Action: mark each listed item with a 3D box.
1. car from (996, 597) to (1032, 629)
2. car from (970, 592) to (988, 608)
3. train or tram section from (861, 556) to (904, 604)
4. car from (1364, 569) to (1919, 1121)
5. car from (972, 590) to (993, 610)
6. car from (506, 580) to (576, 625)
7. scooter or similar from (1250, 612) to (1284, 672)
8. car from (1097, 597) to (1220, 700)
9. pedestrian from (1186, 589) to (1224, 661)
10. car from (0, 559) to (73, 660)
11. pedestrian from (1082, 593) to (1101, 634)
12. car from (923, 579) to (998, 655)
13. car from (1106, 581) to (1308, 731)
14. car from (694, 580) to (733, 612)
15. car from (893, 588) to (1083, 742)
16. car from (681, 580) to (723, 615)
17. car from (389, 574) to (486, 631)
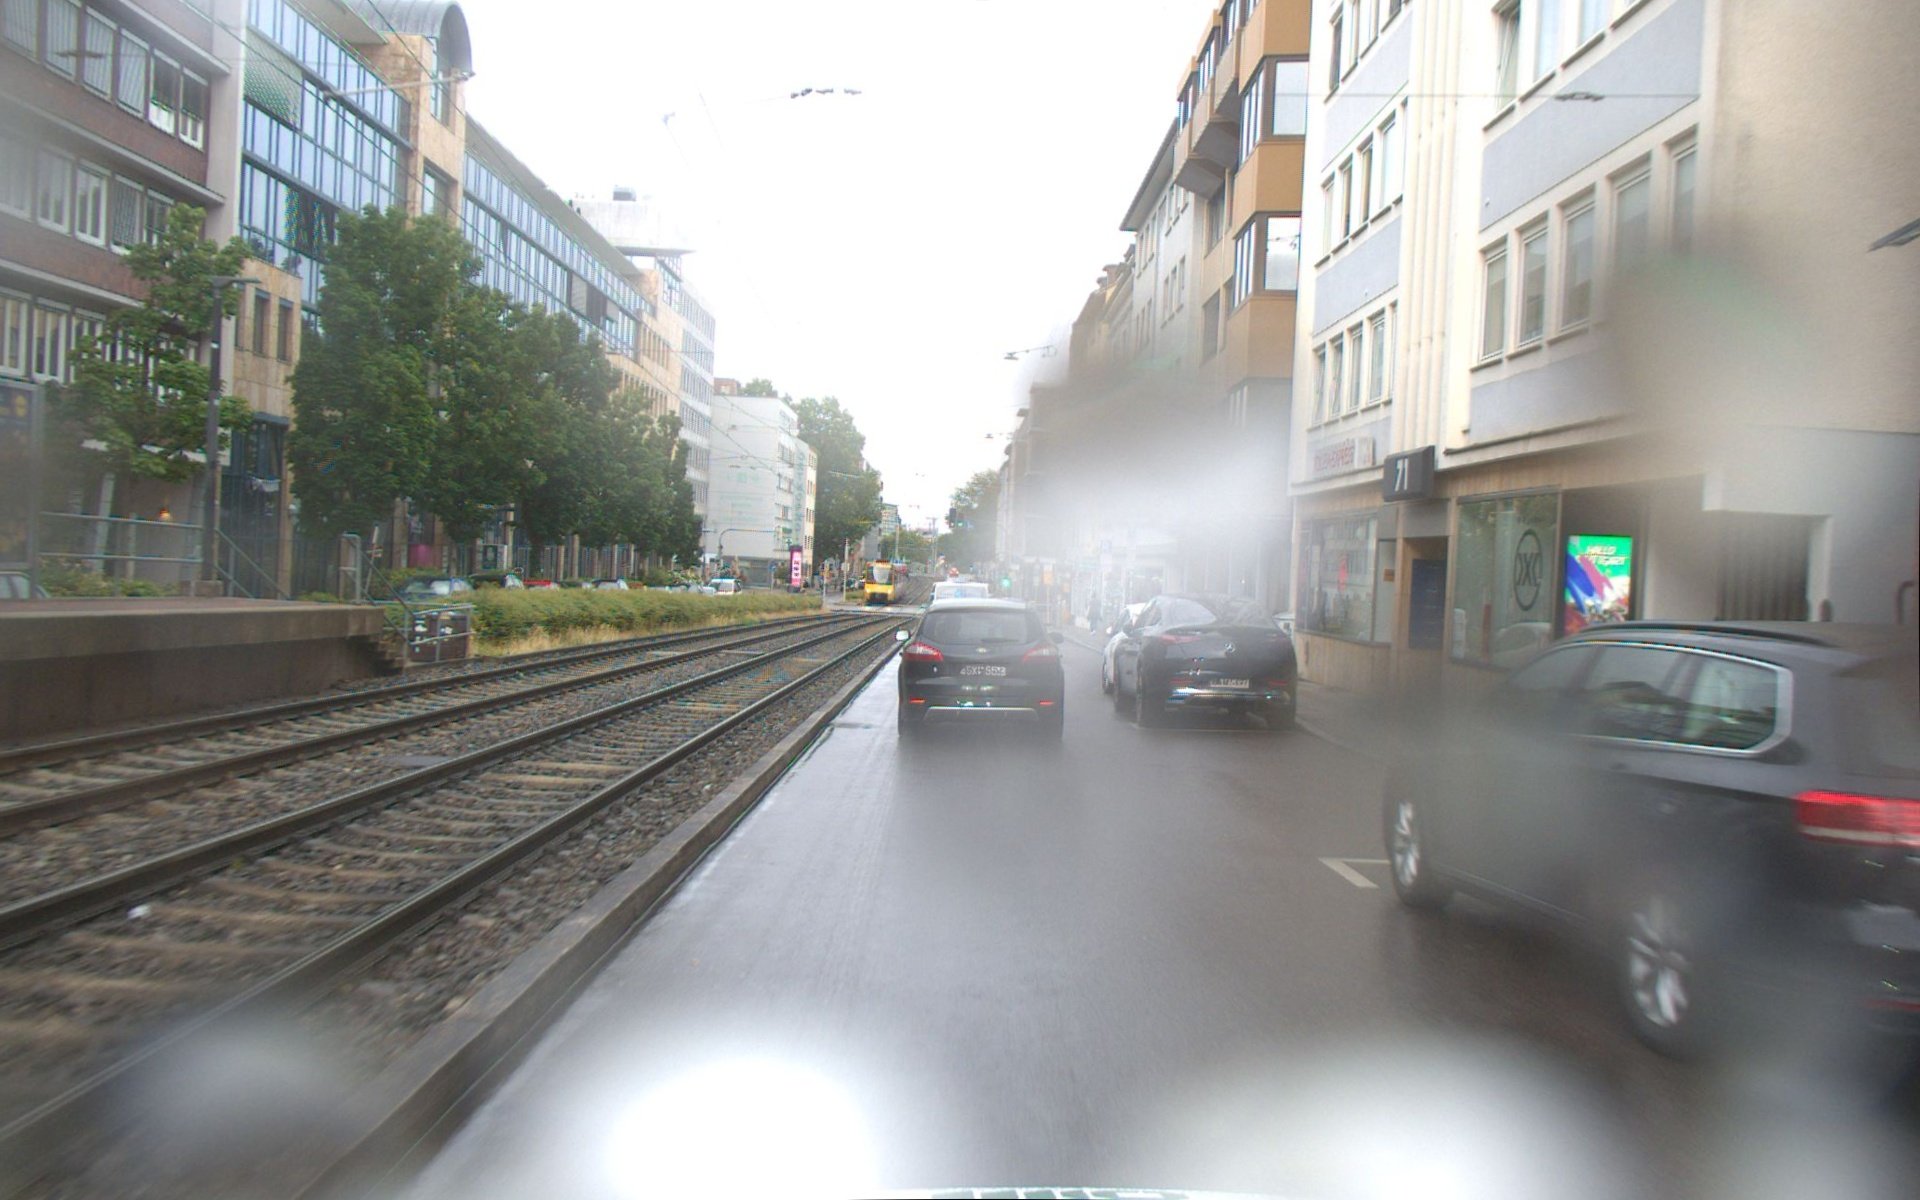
[{"bbox_3d":[3.020,0.746,92.954,1.867,1.662,4.574,2,-1,1],"label":"car"},{"bbox_3d":[2.160,0.051,186.698,1.867,1.662,4.574,2,-1,1],"label":"car"},{"bbox_3d":[-6.718,-1.669,142.802,3.443,3.843,11.325,2,0,-3],"label":"train or tram section"},{"bbox_3d":[3.210,0.689,6.832,1.738,1.494,4.607,2,0,-3],"label":"car"},{"bbox_3d":[2.073,0.013,155.010,1.867,1.662,4.574,2,-1,1],"label":"car"},{"bbox_3d":[-14.460,0.073,57.310,1.537,1.461,4.175,2,0,-3],"label":"car"},{"bbox_3d":[5.841,0.786,31.493,0.205,1.102,1.231,2,0,-8],"label":"scooter or similar"},{"bbox_3d":[3.121,0.732,26.592,1.525,1.502,3.565,2,0,0],"label":"car"},{"bbox_3d":[5.827,0.582,39.385,0.681,1.681,0.965,2,0,-1],"label":"pedestrian"},{"bbox_3d":[-14.550,0.112,23.734,1.537,1.461,4.175,2,0,-3],"label":"car"},{"bbox_3d":[5.067,0.517,63.704,0.599,1.564,0.649,2,0,-1],"label":"pedestrian"},{"bbox_3d":[0.062,0.459,45.236,1.867,1.897,4.574,2,-1,1],"label":"car"},{"bbox_3d":[3.061,0.645,21.552,1.770,1.660,5.168,2,0,-1],"label":"car"},{"bbox_3d":[-15.166,-0.220,102.040,1.869,1.897,4.570,2,-1,-3],"label":"car"},{"bbox_3d":[0.290,0.673,18.395,1.867,1.488,3.444,2,-1,0],"label":"car"},{"bbox_3d":[-14.862,-0.098,95.329,1.869,1.897,4.570,2,-1,-3],"label":"car"},{"bbox_3d":[-14.431,0.058,45.901,1.537,1.461,4.175,2,0,-3],"label":"car"}]
